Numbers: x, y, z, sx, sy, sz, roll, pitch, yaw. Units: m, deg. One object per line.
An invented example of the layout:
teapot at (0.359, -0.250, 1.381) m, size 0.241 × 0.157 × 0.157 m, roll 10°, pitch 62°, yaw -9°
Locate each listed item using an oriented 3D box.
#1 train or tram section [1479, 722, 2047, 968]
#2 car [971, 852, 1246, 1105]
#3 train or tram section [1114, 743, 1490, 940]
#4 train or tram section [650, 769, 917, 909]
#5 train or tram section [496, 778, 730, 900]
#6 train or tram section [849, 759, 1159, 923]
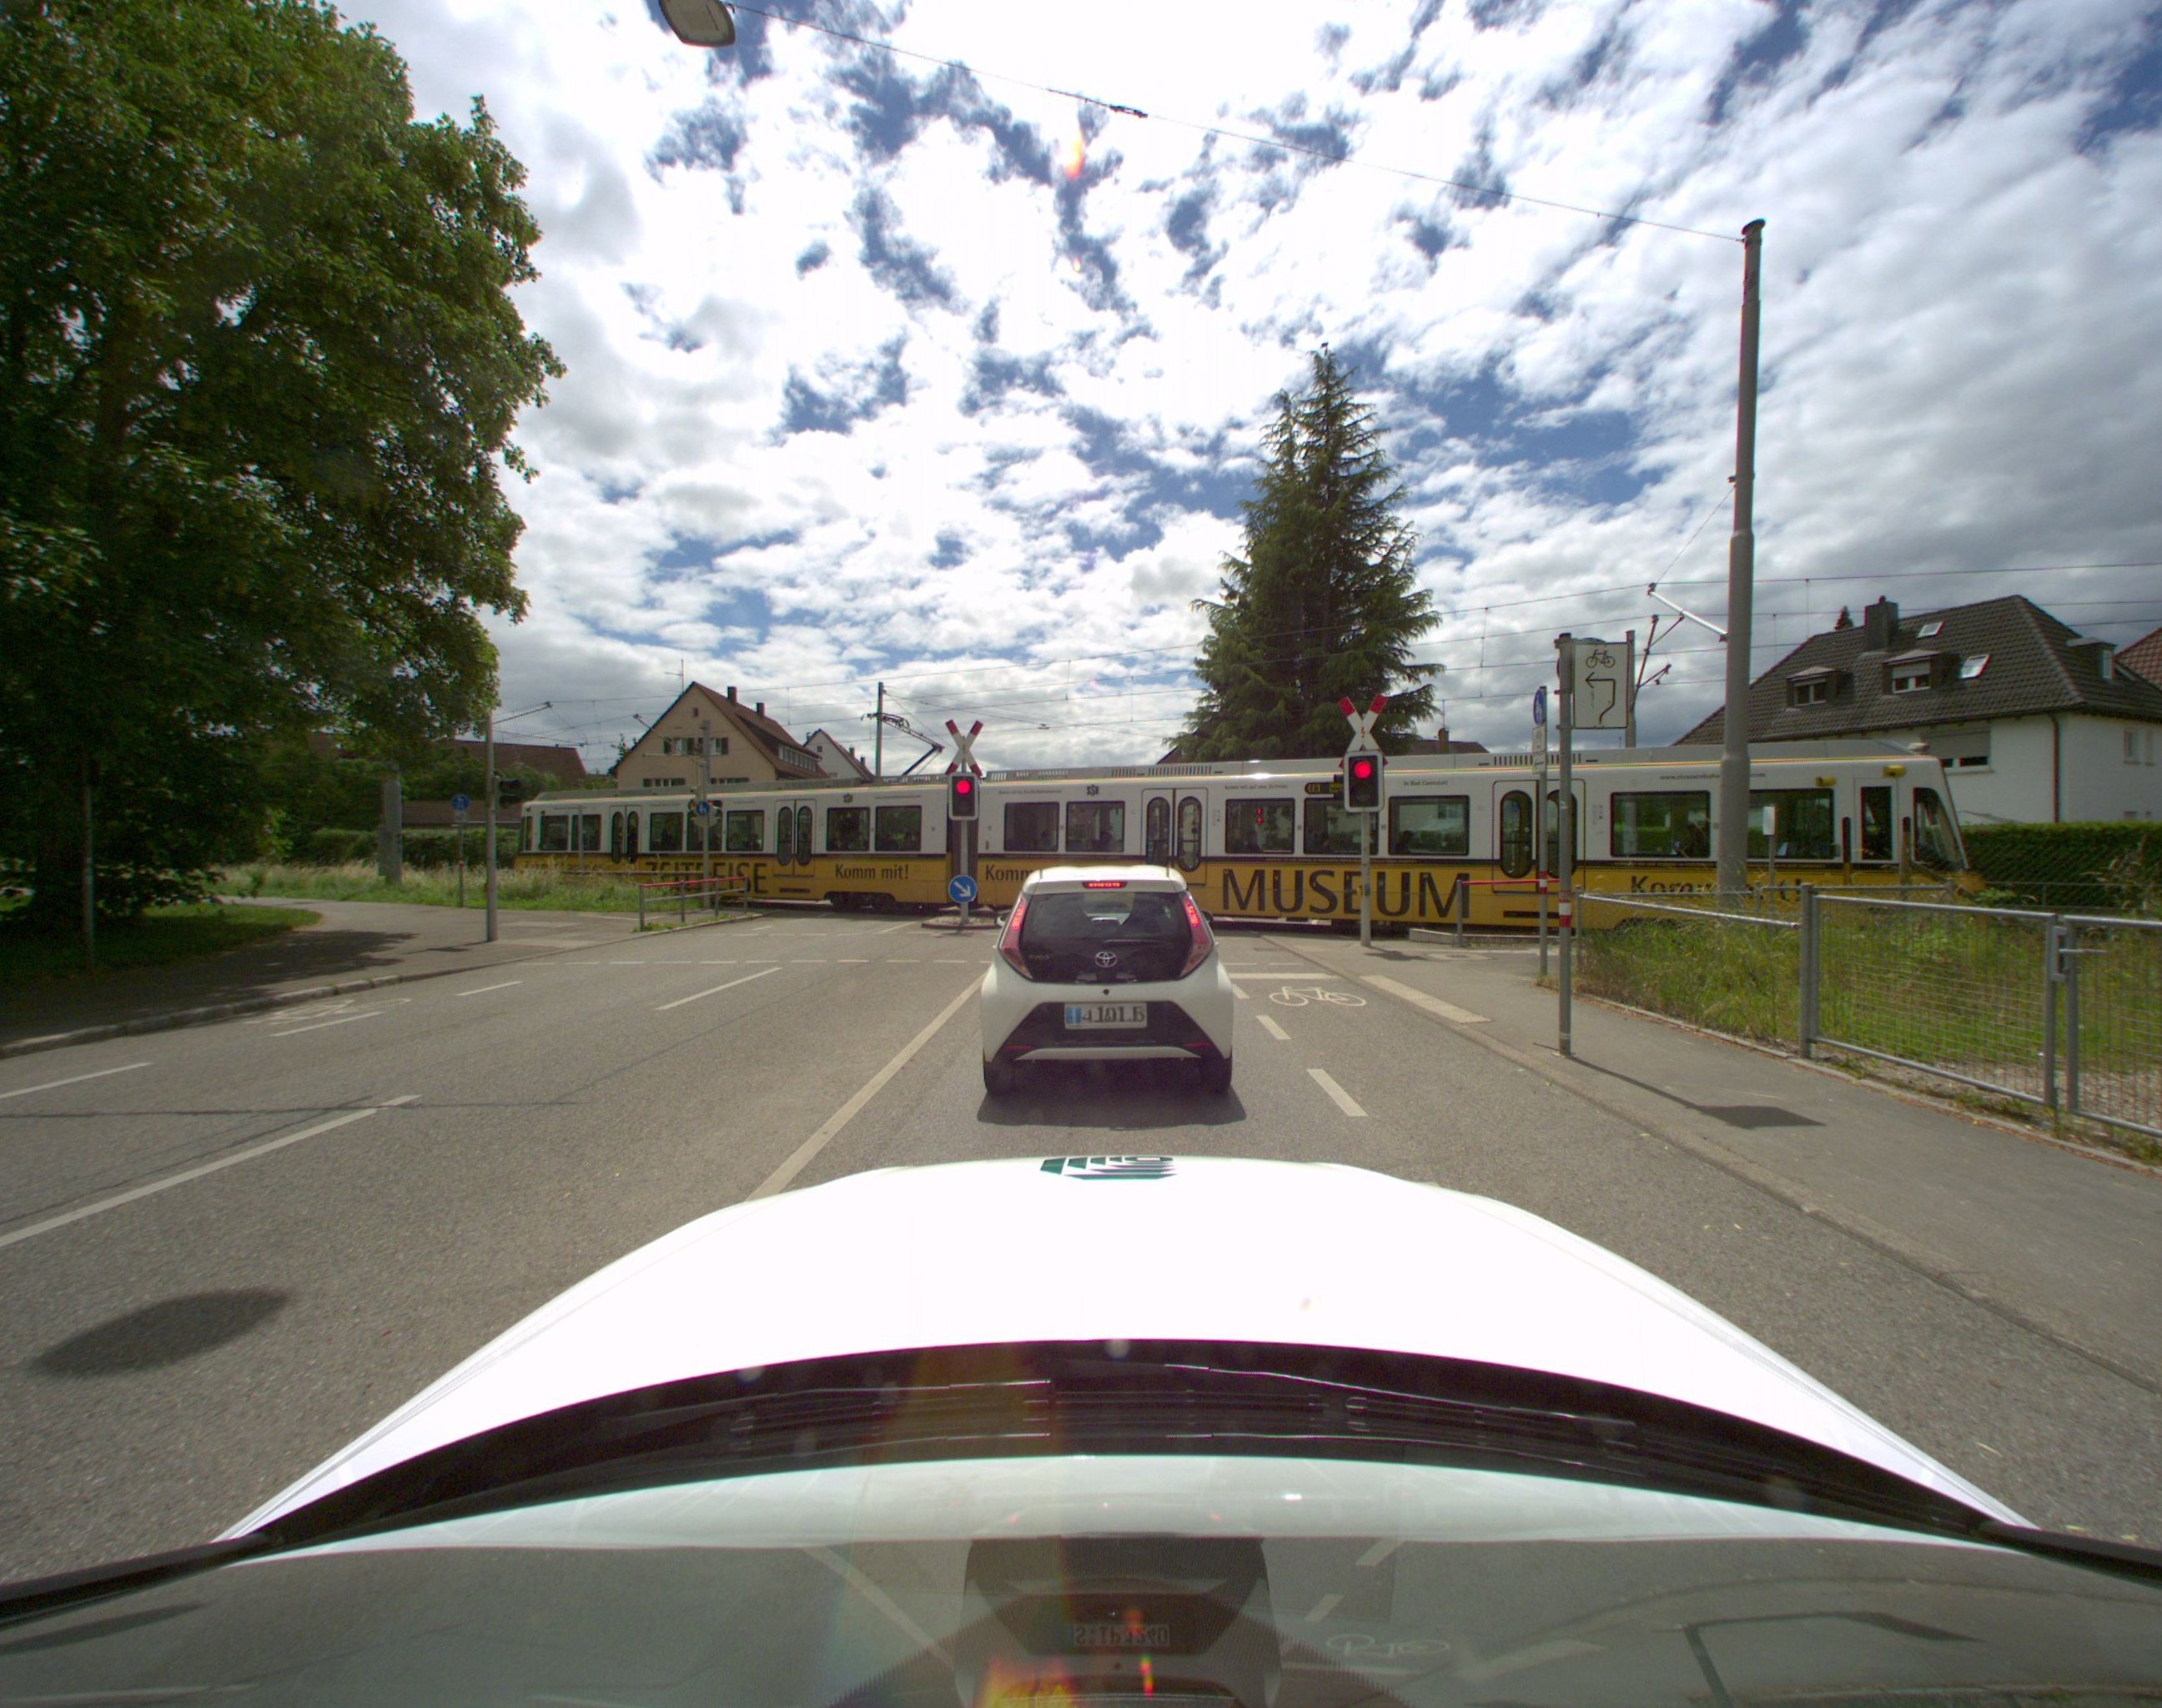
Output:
train or tram section at (11.716, -0.172, 15.179) m, size 7.622 × 3.721 × 2.886 m, roll 1°, pitch 0°, yaw 24°
car at (0.224, 0.759, 6.849) m, size 1.615 × 1.486 × 4.001 m, roll -1°, pitch -1°, yaw 2°
train or tram section at (4.850, -0.269, 18.278) m, size 7.622 × 3.721 × 2.886 m, roll 1°, pitch 0°, yaw 24°
train or tram section at (-8.985, -0.437, 24.494) m, size 7.622 × 3.721 × 2.886 m, roll 1°, pitch 0°, yaw 24°
train or tram section at (-15.902, -0.494, 27.602) m, size 7.622 × 3.721 × 2.886 m, roll 1°, pitch 0°, yaw 24°
train or tram section at (-2.061, -0.331, 21.389) m, size 7.622 × 3.721 × 2.886 m, roll 1°, pitch 0°, yaw 24°
